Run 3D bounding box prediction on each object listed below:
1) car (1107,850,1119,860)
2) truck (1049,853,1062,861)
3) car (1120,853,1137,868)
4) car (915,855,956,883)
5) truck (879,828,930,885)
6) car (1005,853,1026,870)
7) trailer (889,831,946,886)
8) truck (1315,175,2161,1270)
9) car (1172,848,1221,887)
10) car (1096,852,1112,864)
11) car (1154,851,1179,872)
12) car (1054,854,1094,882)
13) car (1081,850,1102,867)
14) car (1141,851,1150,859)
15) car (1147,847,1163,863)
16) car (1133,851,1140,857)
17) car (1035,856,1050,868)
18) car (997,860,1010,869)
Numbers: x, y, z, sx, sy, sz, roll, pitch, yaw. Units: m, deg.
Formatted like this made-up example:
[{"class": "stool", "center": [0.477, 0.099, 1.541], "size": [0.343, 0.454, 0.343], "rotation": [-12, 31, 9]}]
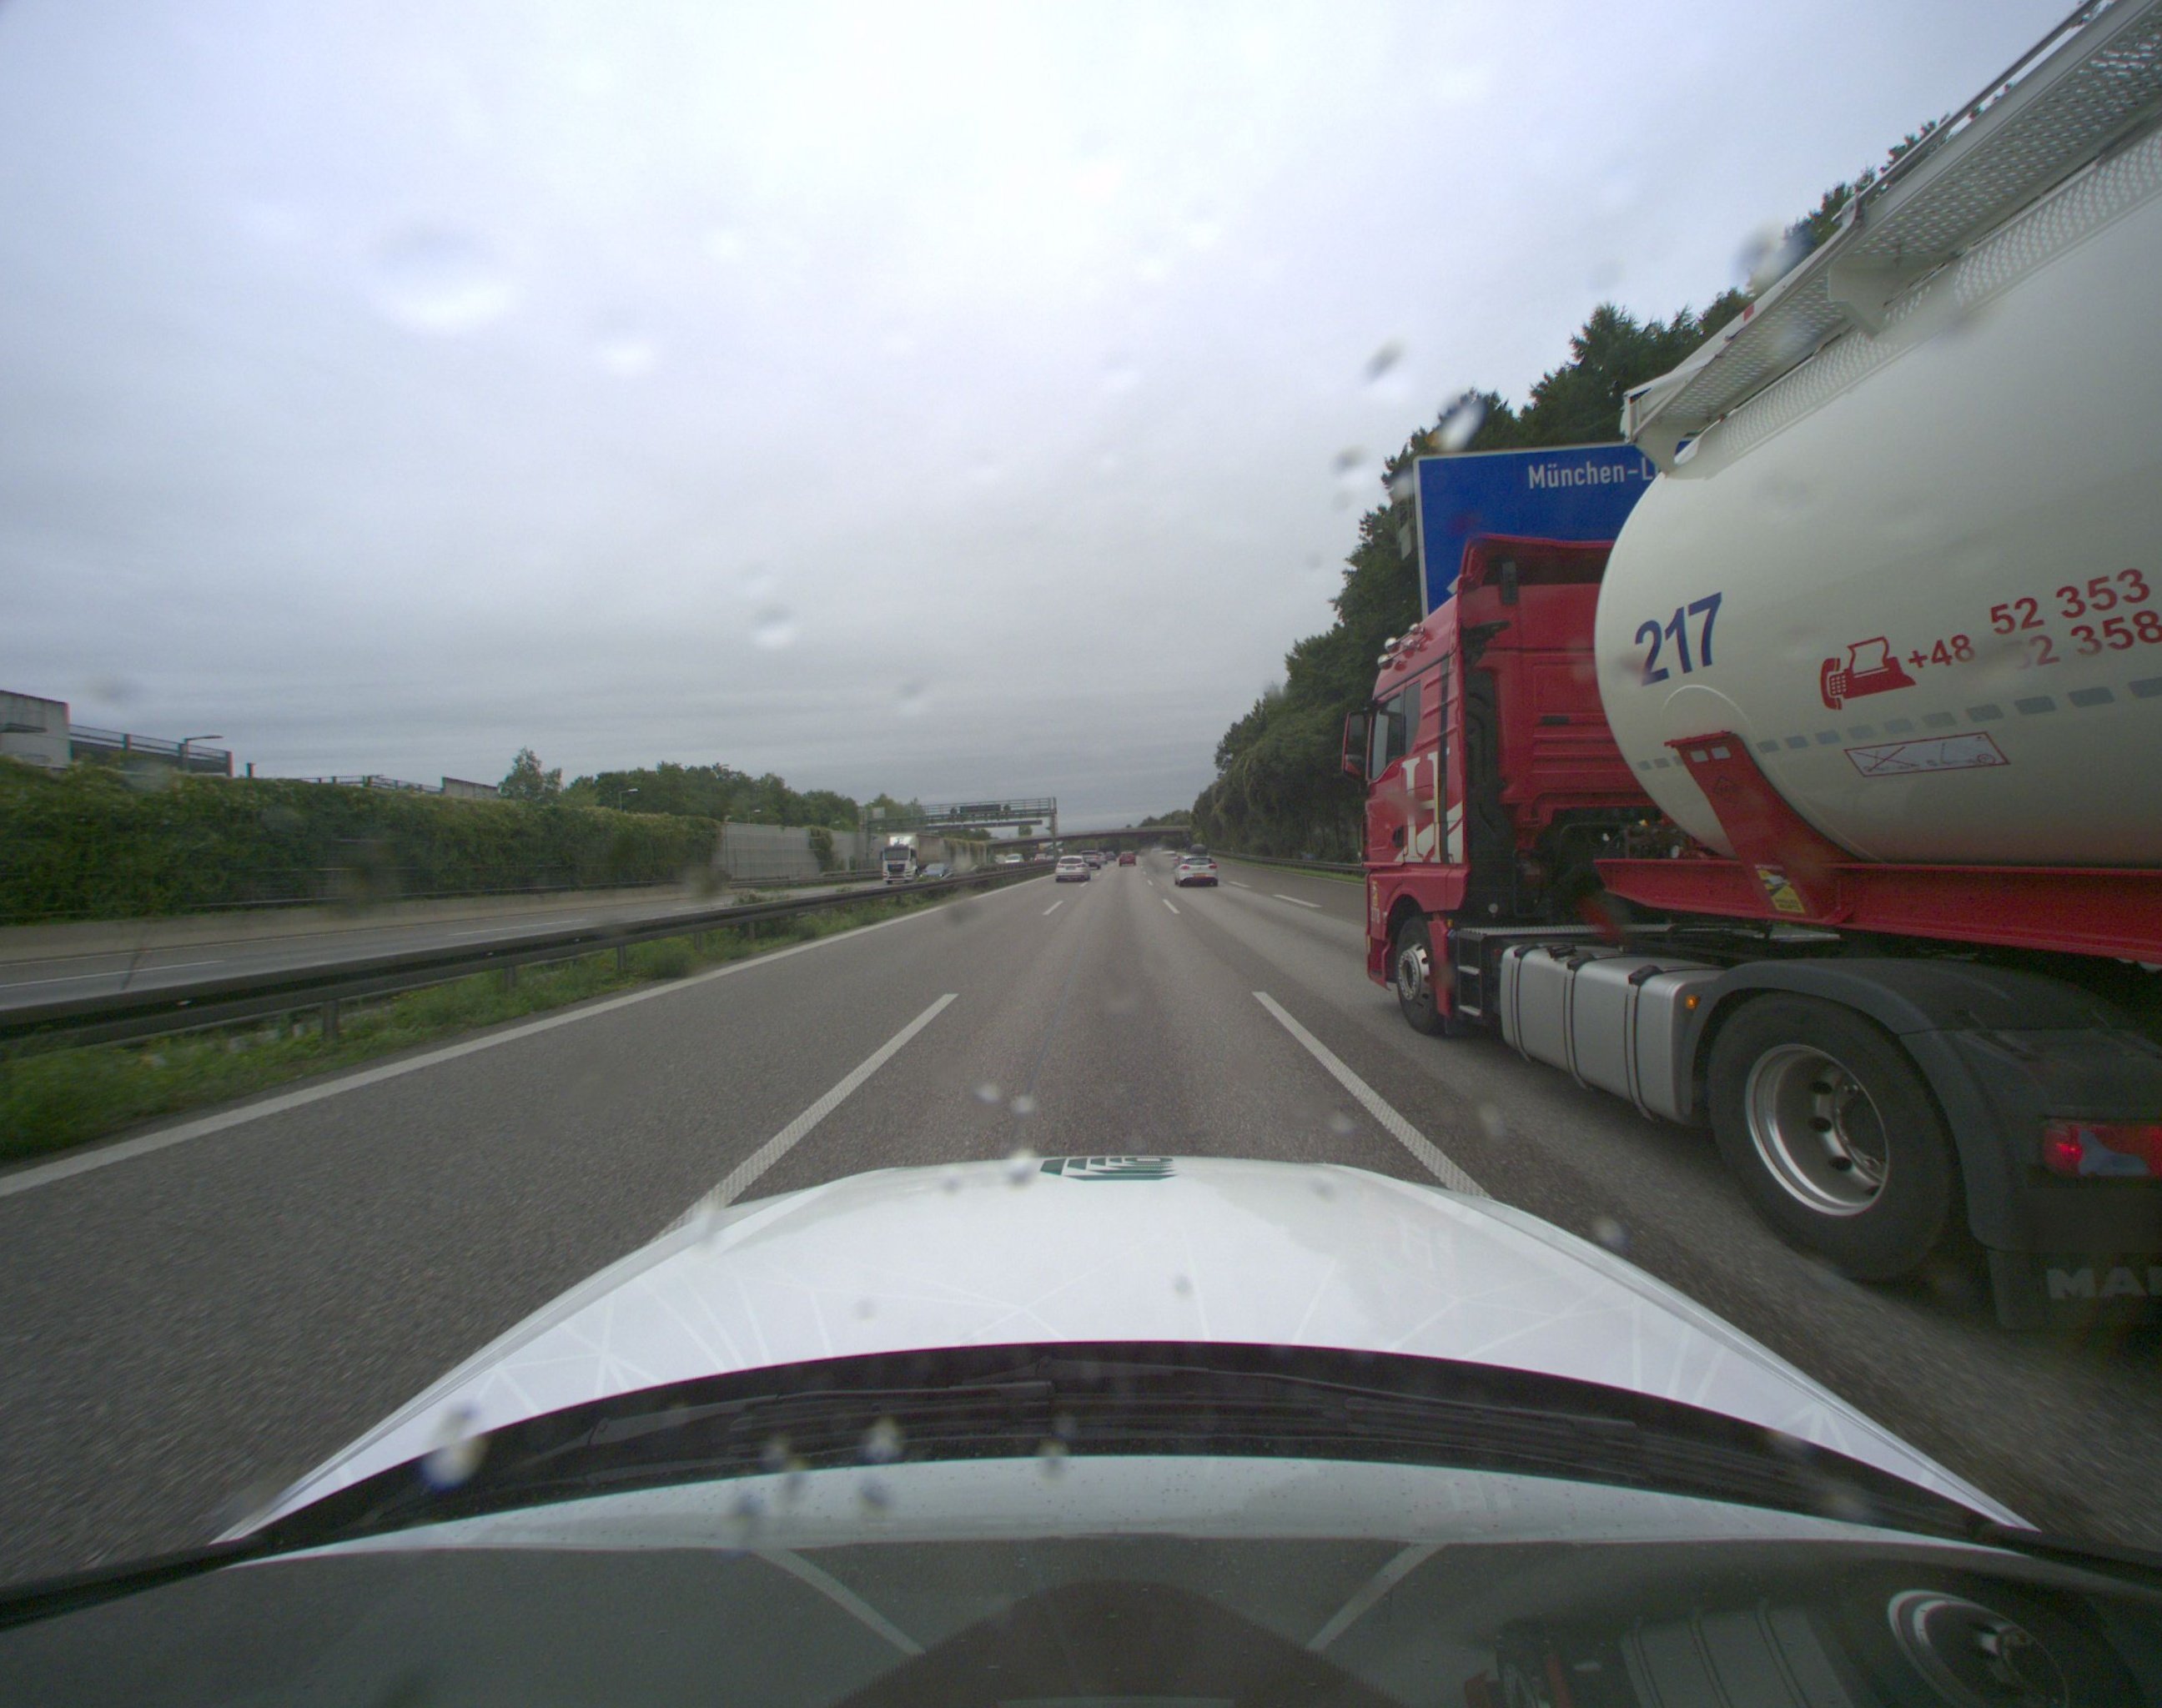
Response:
[{"class": "car", "center": [4.946, 0.179, 125.879], "size": [1.681, 1.506, 3.876], "rotation": [3, 0, 5]}, {"class": "truck", "center": [-6.338, 0.680, 204.799], "size": [2.575, 1.809, 5.975], "rotation": [3, 0, 3]}, {"class": "car", "center": [5.055, 0.698, 86.203], "size": [1.682, 1.506, 3.874], "rotation": [3, 0, 2]}, {"class": "car", "center": [-11.064, 1.173, 62.236], "size": [1.985, 2.014, 4.912], "rotation": [-1, -1, 3]}, {"class": "truck", "center": [-14.401, 0.207, 66.904], "size": [2.637, 4.473, 5.288], "rotation": [-2, 0, 3]}, {"class": "car", "center": [-8.294, 0.981, 103.805], "size": [1.985, 2.014, 4.912], "rotation": [-1, -1, 3]}, {"class": "trailer", "center": [-14.140, 0.363, 71.234], "size": [2.656, 4.444, 8.581], "rotation": [-2, 0, 4]}, {"class": "truck", "center": [4.020, -0.492, 6.201], "size": [2.685, 3.912, 6.558], "rotation": [-1, 0, 2]}, {"class": "car", "center": [5.236, 0.615, 37.453], "size": [1.808, 1.625, 5.035], "rotation": [-1, -1, 4]}, {"class": "car", "center": [2.940, 0.489, 103.968], "size": [1.681, 1.506, 3.876], "rotation": [-3, 0, 5]}, {"class": "car", "center": [6.198, 0.559, 59.292], "size": [1.681, 1.506, 3.876], "rotation": [-1, -1, 5]}, {"class": "car", "center": [-0.351, 0.795, 47.062], "size": [1.883, 1.504, 5.035], "rotation": [-1, -1, 4]}, {"class": "car", "center": [1.012, 0.429, 76.271], "size": [1.682, 1.506, 3.875], "rotation": [3, 0, 3]}, {"class": "car", "center": [12.897, 0.184, 163.614], "size": [1.681, 1.539, 3.876], "rotation": [-1, 0, 5]}, {"class": "car", "center": [8.598, 0.091, 94.740], "size": [1.681, 1.779, 3.876], "rotation": [-1, 0, 5]}, {"class": "car", "center": [14.629, 0.074, 214.043], "size": [1.682, 1.422, 4.075], "rotation": [-1, 0, 3]}, {"class": "car", "center": [-6.443, 1.367, 136.918], "size": [1.985, 2.014, 4.002], "rotation": [-1, -1, 2]}, {"class": "car", "center": [-14.327, 1.980, 150.080], "size": [1.784, 1.618, 4.002], "rotation": [-1, -1, 2]}]
